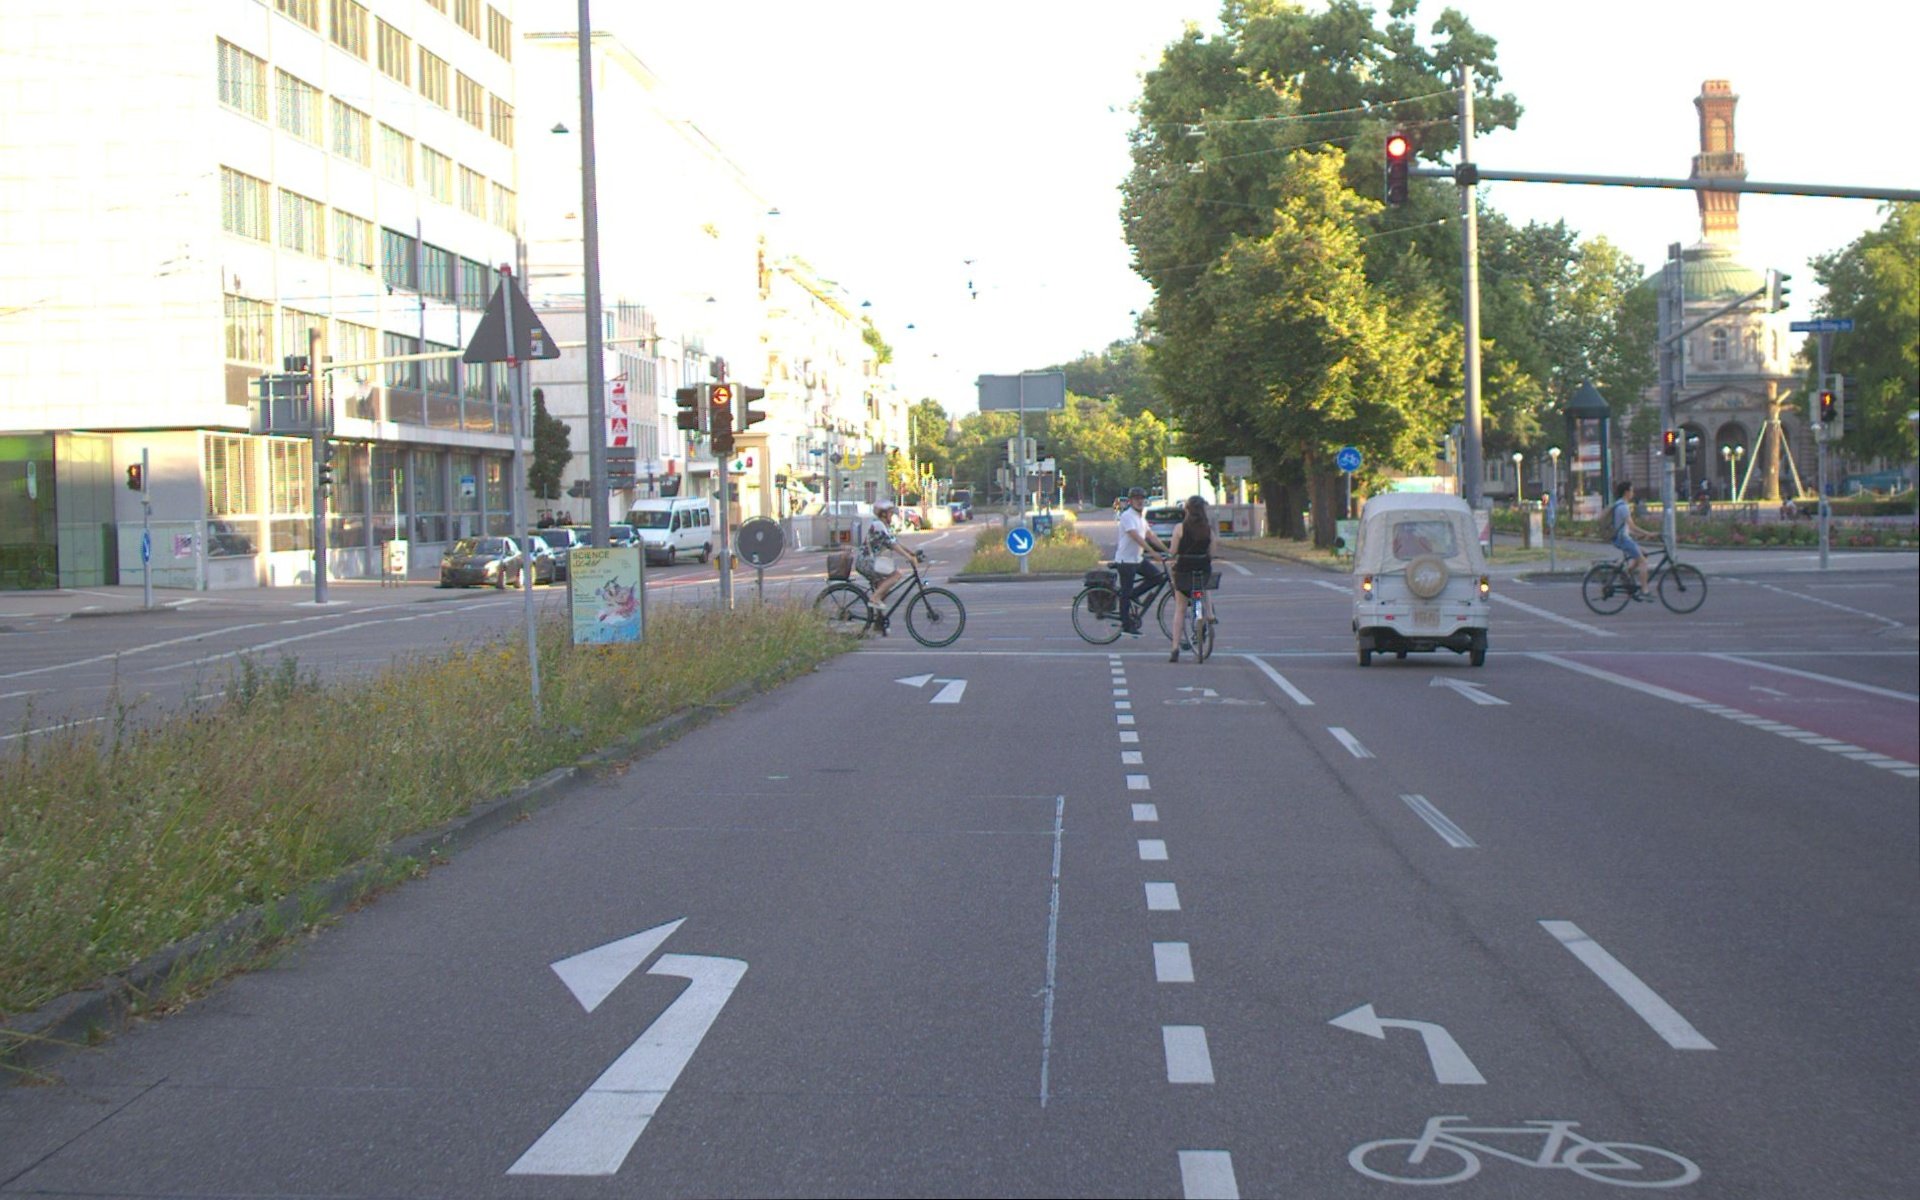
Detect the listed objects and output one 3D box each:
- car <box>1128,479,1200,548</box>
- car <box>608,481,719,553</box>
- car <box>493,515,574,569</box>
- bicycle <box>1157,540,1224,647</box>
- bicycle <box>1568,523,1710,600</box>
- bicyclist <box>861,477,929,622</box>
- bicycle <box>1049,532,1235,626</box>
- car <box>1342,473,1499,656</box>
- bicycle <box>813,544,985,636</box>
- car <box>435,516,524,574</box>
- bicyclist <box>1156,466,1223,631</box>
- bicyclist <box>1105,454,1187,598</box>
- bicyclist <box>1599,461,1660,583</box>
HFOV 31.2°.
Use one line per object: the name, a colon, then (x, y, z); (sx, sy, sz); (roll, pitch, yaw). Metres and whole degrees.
car: (6.255, -2.670, 105.755); (1.993, 2.006, 4.000); (-1, 2, 1)
car: (-10.791, -3.007, 125.563); (2.178, 2.377, 5.985); (-2, -1, 14)
car: (-12.780, -1.721, 103.279); (1.796, 1.470, 4.000); (-1, -1, 2)
bicycle: (2.420, -0.083, 36.182); (0.637, 1.065, 2.069); (0, 2, 2)
bicycle: (9.563, -0.547, 48.474); (1.897, 1.065, 0.731); (0, 1, 5)
bicyclist: (-0.774, -0.602, 40.694); (0.746, 1.687, 0.715); (-1, 1, -2)
bicycle: (2.182, -0.249, 41.152); (2.060, 1.065, 0.786); (-1, 2, 19)
car: (4.726, -0.402, 35.494); (1.459, 1.774, 2.564); (-1, 3, 5)
bicycle: (-0.729, -0.123, 40.721); (2.015, 1.065, 0.731); (0, 1, -2)
car: (-13.406, -1.515, 96.076); (1.796, 1.470, 4.000); (-1, -1, 2)
bicyclist: (2.390, -0.541, 35.855); (0.628, 1.687, 0.748); (-1, 1, 2)
bicyclist: (2.227, -0.889, 41.127); (0.747, 1.687, 0.764); (-1, 1, 20)
bicyclist: (9.436, -1.103, 48.457); (0.746, 1.687, 0.715); (-1, 1, 5)
